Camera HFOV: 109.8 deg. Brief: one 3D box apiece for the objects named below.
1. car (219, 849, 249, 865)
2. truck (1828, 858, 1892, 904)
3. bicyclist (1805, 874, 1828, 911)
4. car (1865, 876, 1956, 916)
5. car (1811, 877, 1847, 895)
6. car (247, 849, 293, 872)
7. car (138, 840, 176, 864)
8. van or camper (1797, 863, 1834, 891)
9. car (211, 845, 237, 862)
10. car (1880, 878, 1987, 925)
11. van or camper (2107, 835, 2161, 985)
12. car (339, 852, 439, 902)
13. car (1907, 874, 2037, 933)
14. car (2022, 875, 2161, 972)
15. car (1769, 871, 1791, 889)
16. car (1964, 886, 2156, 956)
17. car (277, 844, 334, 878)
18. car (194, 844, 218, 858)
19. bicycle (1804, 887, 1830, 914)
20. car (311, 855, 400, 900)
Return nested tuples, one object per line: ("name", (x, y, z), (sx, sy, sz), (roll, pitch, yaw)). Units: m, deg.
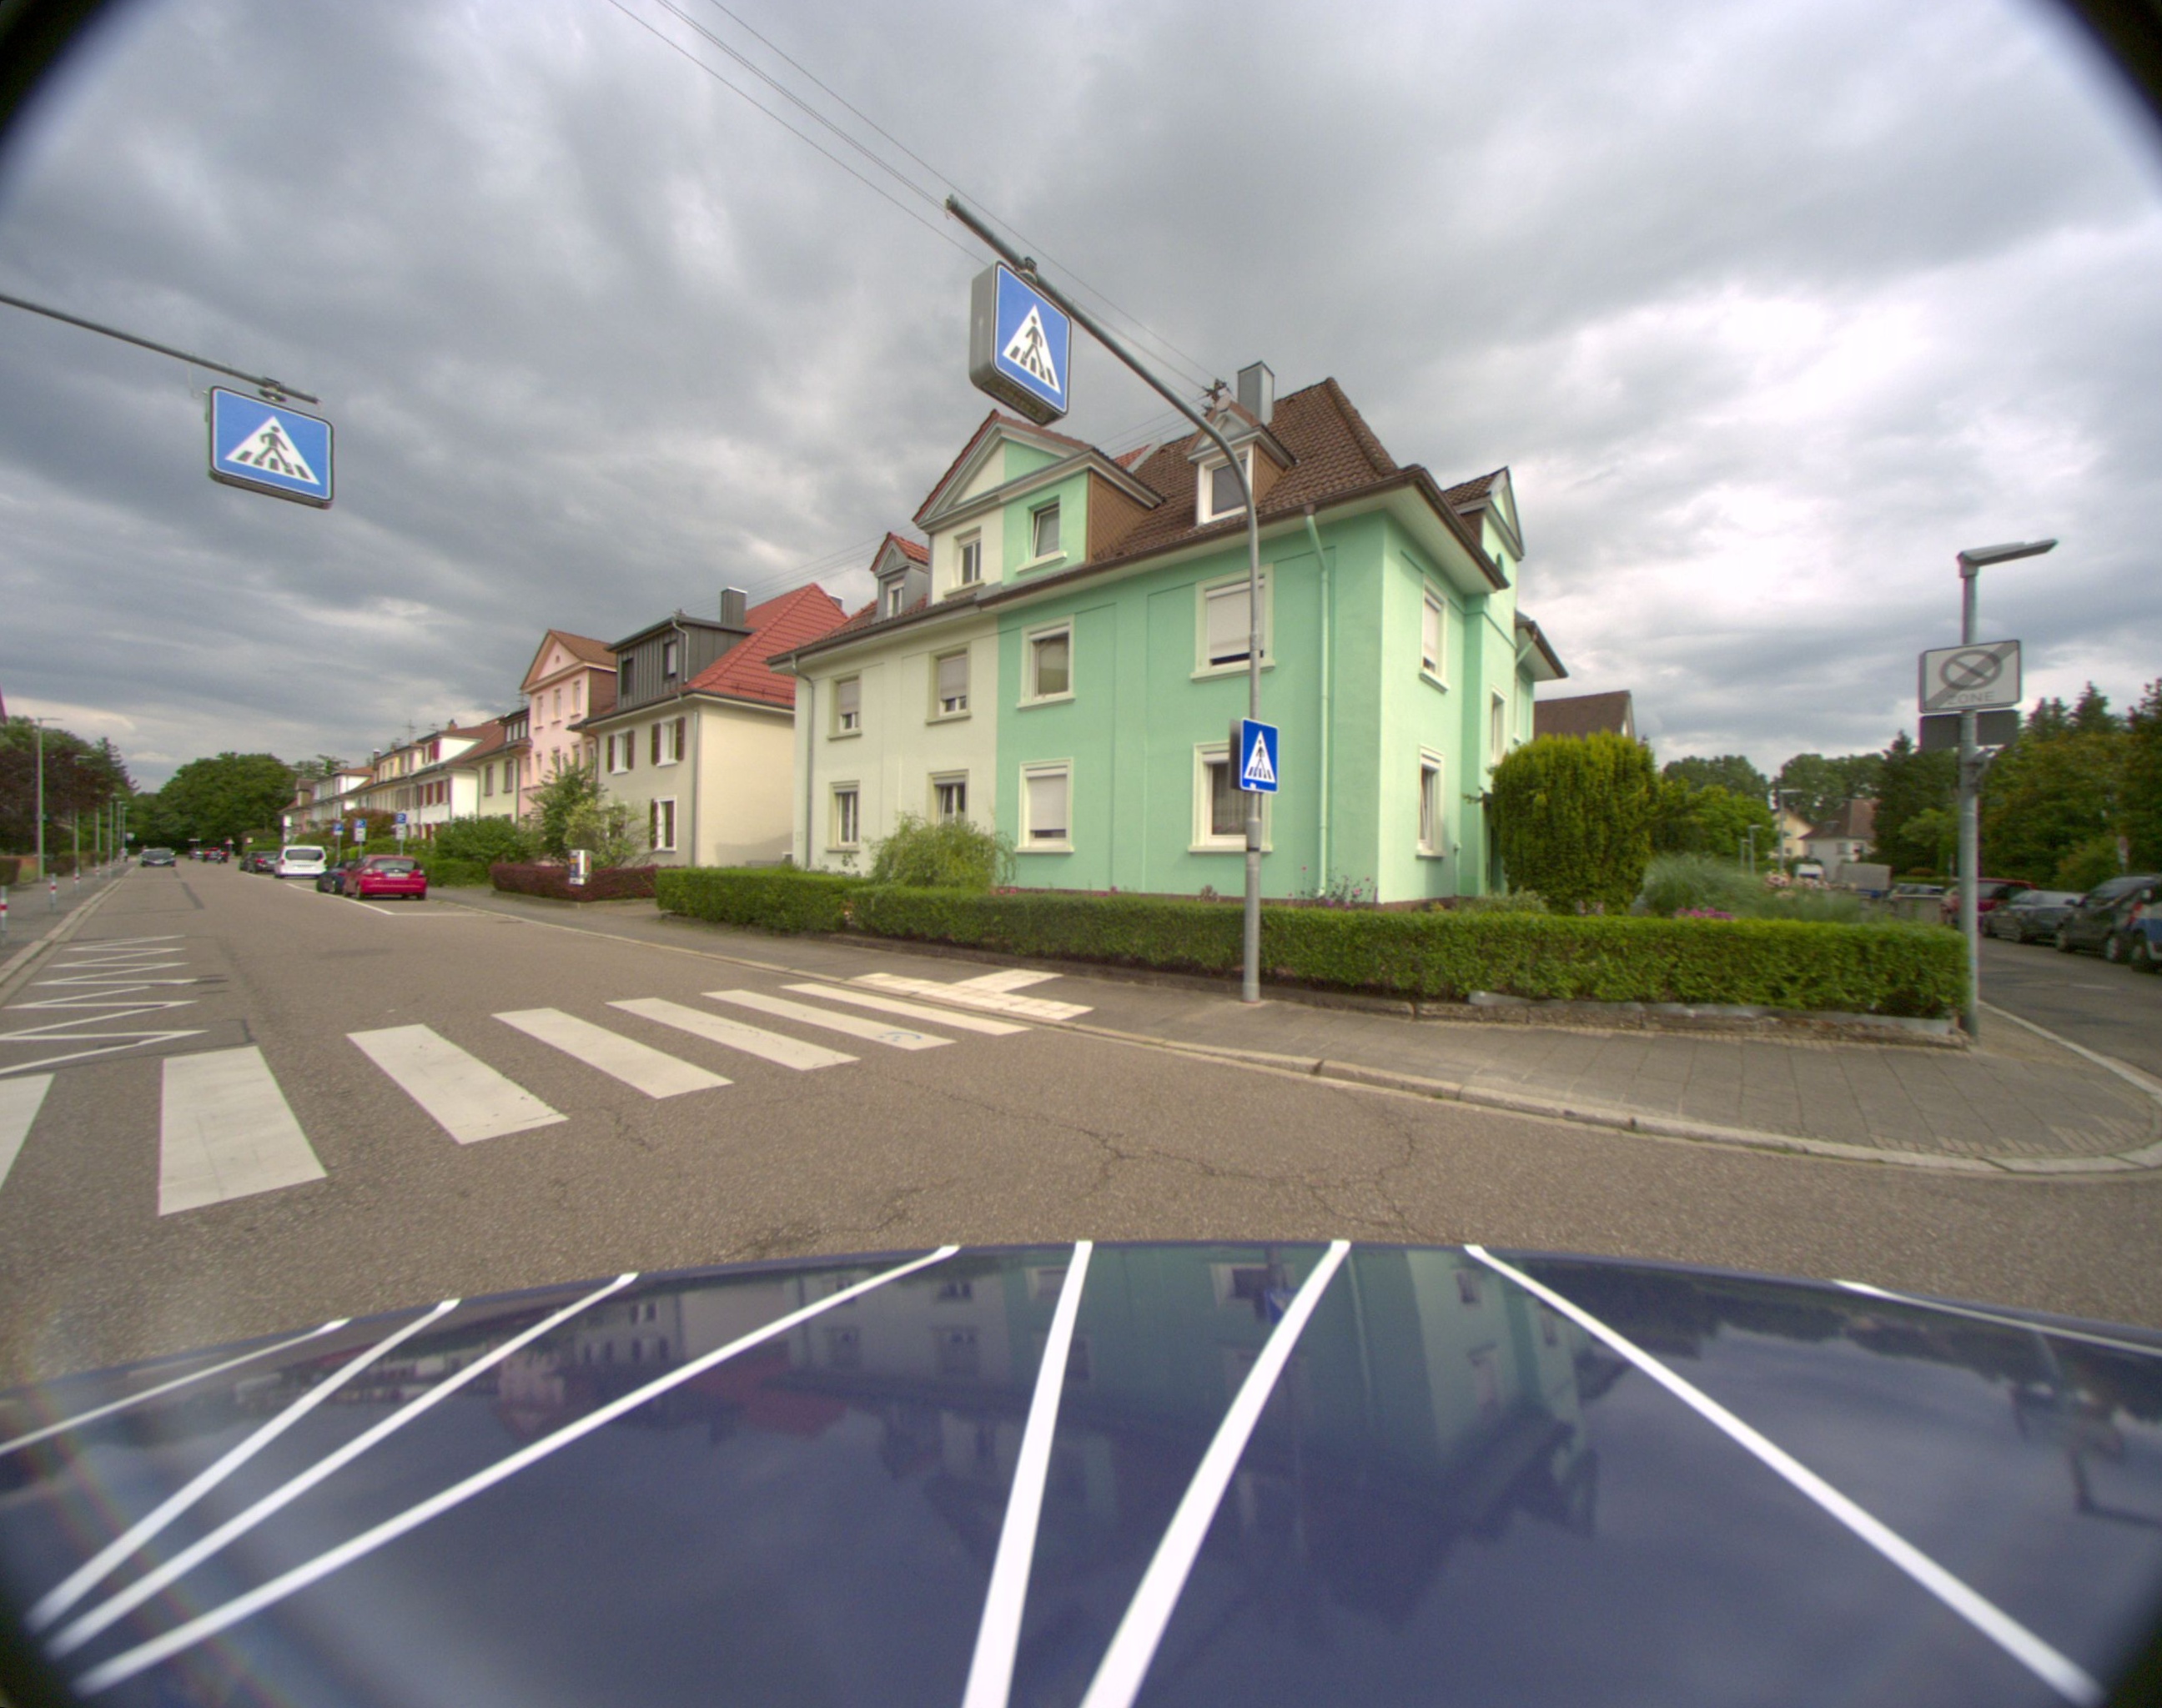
("car", (-96.188, 0.334, 86.300), (3.988, 1.695, 1.739), (1, -1, 35))
("truck", (48.189, 1.610, 47.110), (2.130, 2.641, 4.595), (1, 0, 38))
("bicyclist", (33.014, 1.722, 34.114), (0.697, 1.656, 0.977), (-1, -1, 40))
("car", (37.266, 1.844, 34.254), (1.994, 1.582, 4.351), (1, 0, 37))
("car", (61.155, 2.573, 62.155), (1.821, 1.368, 4.009), (1, 0, 41))
("car", (-57.804, 0.466, 54.120), (3.988, 1.565, 2.004), (1, 0, 40))
("car", (-79.644, -0.206, 65.536), (3.988, 2.002, 2.005), (1, 0, 40))
("van or camper", (69.472, 2.117, 71.930), (2.142, 2.526, 5.026), (1, 0, 40))
("car", (-105.667, -0.032, 93.668), (3.988, 2.001, 2.005), (1, -2, 40))
("car", (33.363, 1.783, 29.877), (1.994, 1.582, 4.351), (1, 0, 37))
("van or camper", (18.153, 0.913, 11.325), (2.192, 2.444, 5.065), (1, 0, 39))
("car", (-23.862, 0.749, 26.153), (3.988, 1.565, 2.004), (1, 0, 40))
("car", (30.192, 1.607, 25.915), (1.994, 1.739, 4.351), (1, 0, 37))
("car", (21.990, 1.367, 15.829), (1.994, 1.761, 4.351), (1, 0, 37))
("car", (82.189, 3.100, 89.288), (1.859, 2.001, 4.010), (1, -2, 43))
("car", (25.179, 1.646, 19.772), (1.994, 1.447, 4.351), (1, 0, 37))
("car", (-45.269, 0.375, 44.355), (3.988, 1.892, 2.004), (1, 0, 40))
("car", (-120.732, -0.417, 104.819), (3.988, 2.002, 2.004), (1, 0, 39))
("bicycle", (33.017, 2.066, 34.113), (0.705, 1.145, 1.877), (0, -1, 40))
("car", (-28.017, 0.866, 29.310), (3.988, 1.565, 2.004), (1, 0, 40))
